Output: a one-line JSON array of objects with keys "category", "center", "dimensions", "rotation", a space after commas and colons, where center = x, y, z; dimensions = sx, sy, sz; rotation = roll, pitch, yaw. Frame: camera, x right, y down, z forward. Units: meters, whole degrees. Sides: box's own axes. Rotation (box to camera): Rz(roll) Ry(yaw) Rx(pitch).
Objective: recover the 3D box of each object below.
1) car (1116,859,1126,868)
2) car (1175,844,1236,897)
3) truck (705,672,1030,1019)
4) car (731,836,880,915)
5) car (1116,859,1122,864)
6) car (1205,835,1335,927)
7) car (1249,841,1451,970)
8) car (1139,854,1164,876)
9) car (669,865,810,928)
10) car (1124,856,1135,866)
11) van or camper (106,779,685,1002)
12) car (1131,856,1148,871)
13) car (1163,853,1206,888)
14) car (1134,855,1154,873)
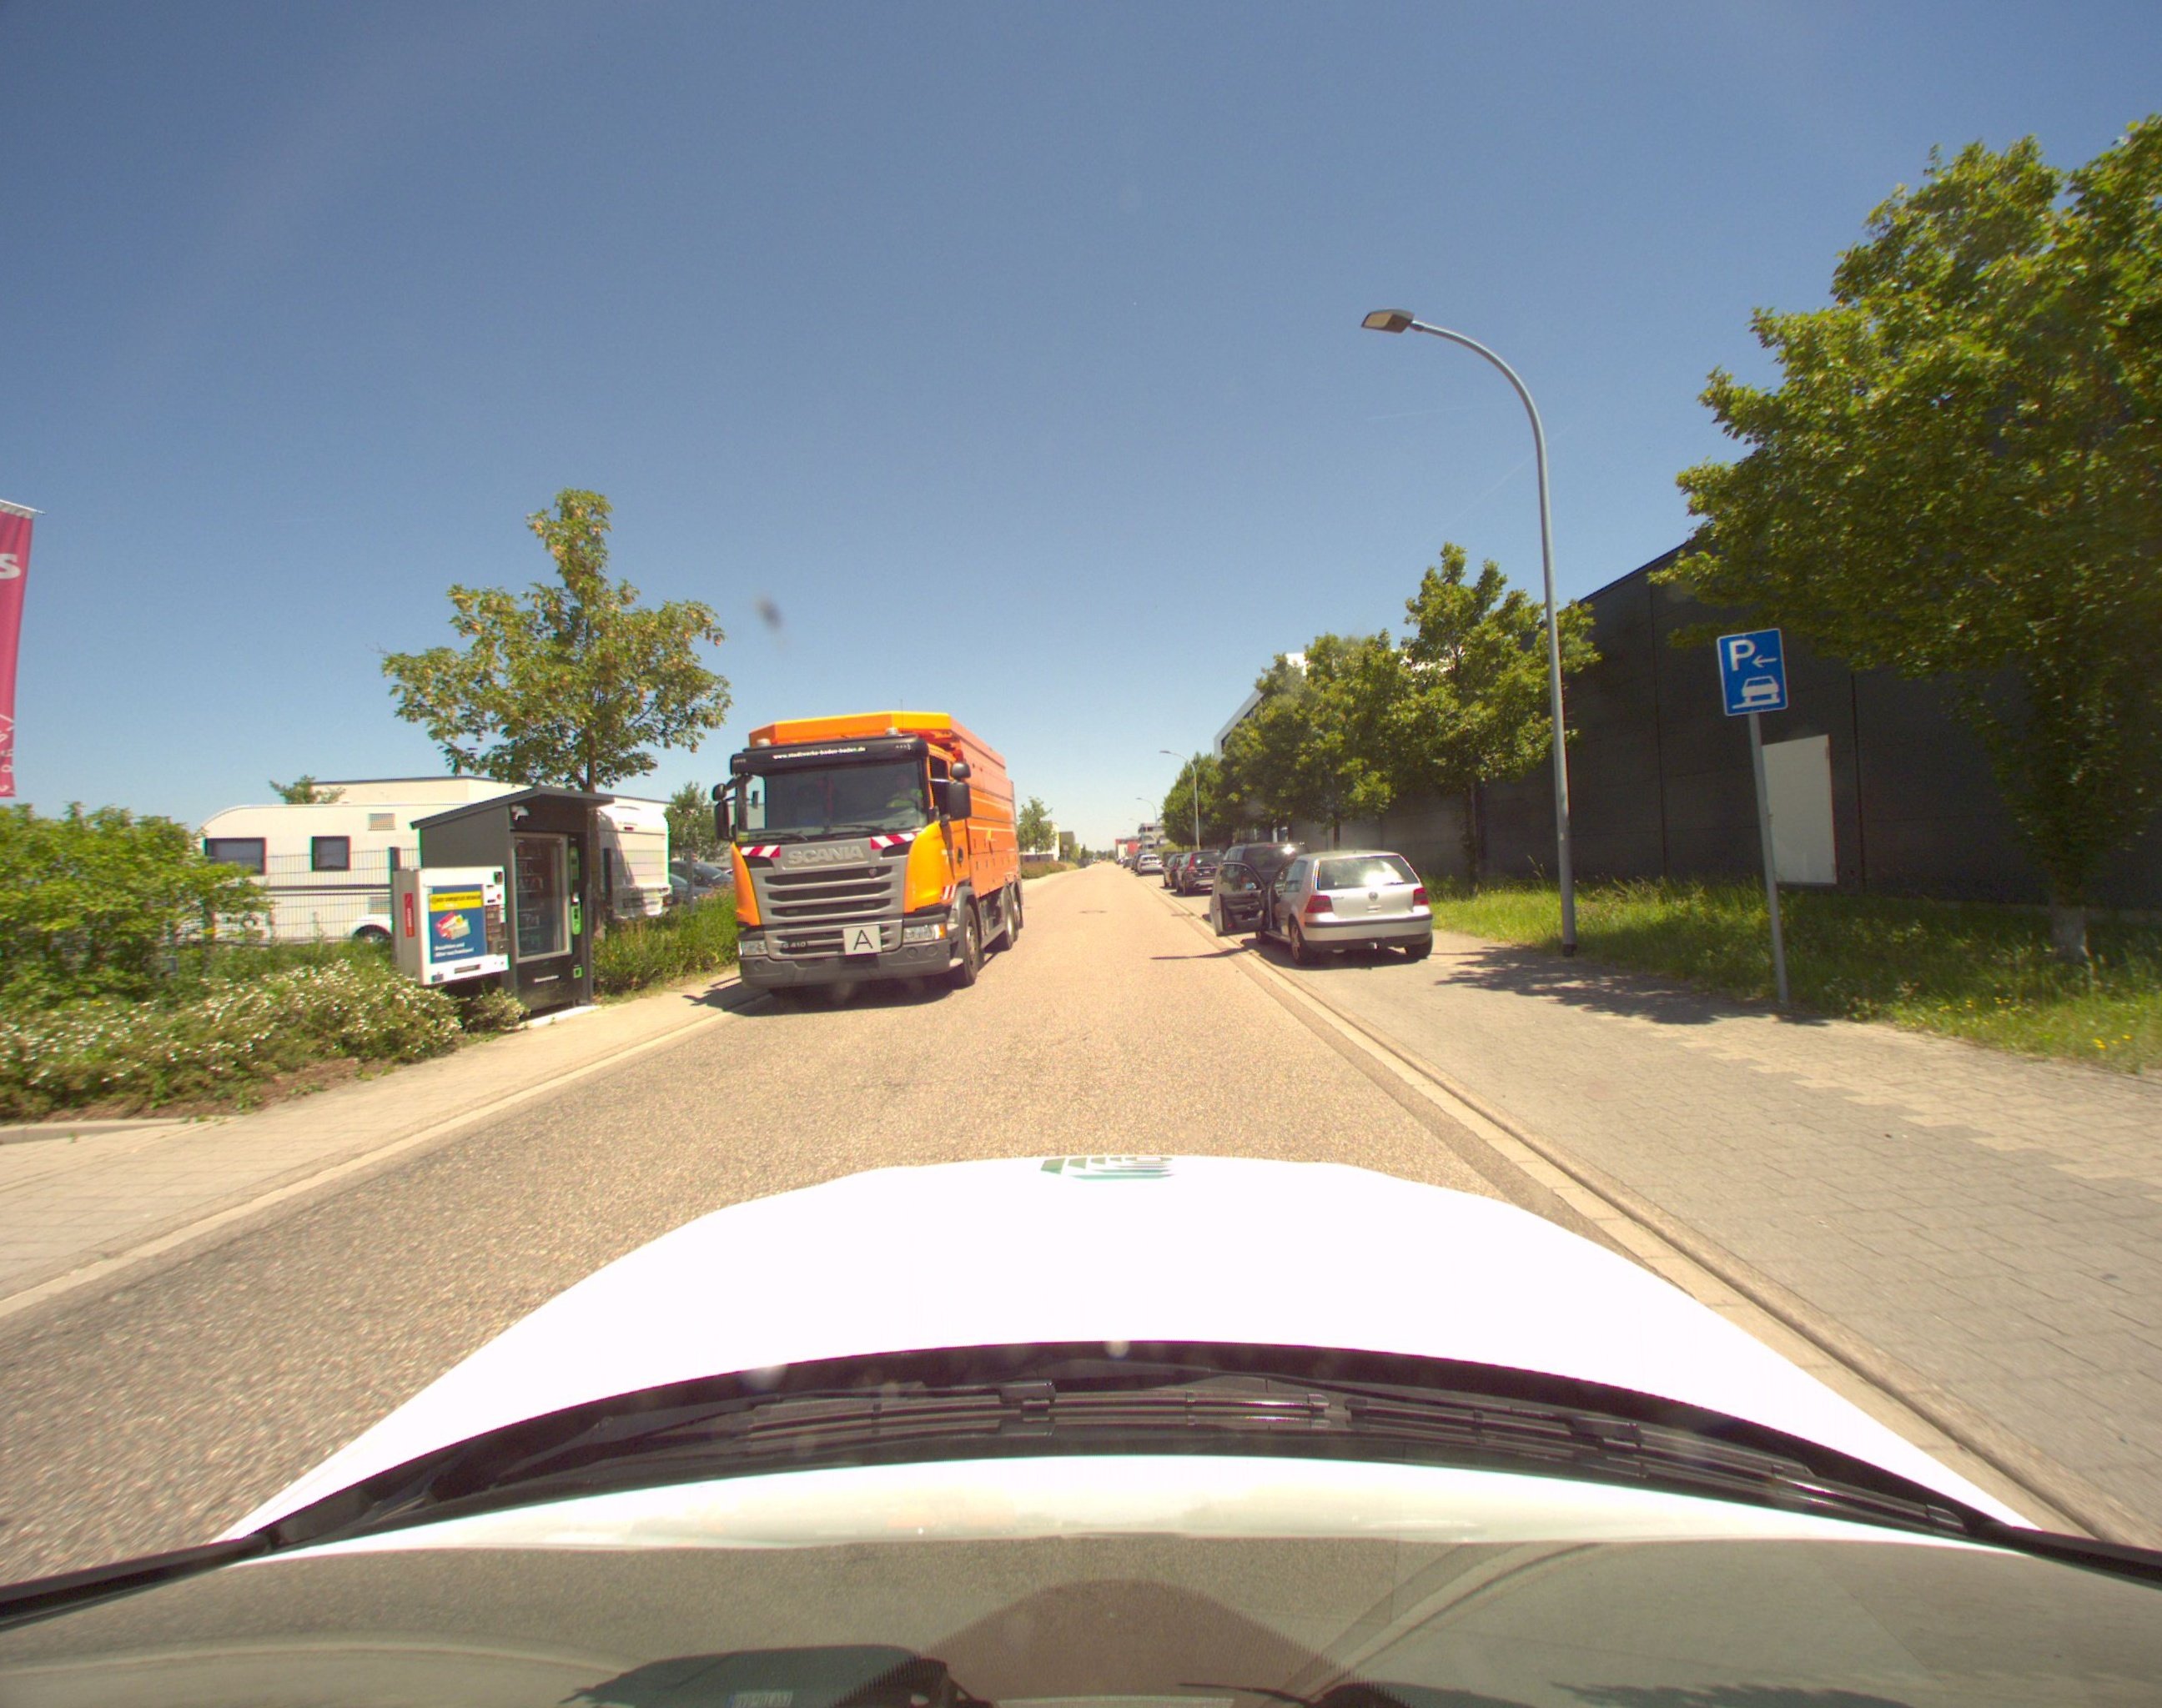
[{"category": "car", "center": [6.816, 1.582, 138.742], "dimensions": [1.489, 1.409, 3.501], "rotation": [-3, 0, 2]}, {"category": "car", "center": [4.428, 0.555, 29.461], "dimensions": [1.715, 1.694, 3.987], "rotation": [-3, 0, 3]}, {"category": "truck", "center": [-2.531, -0.088, 12.759], "dimensions": [2.439, 3.513, 8.276], "rotation": [-4, 0, 2]}, {"category": "car", "center": [-10.082, 0.773, 30.131], "dimensions": [4.703, 2.586, 1.998], "rotation": [-3, -1, -3]}, {"category": "car", "center": [10.841, 2.258, 233.979], "dimensions": [1.489, 1.409, 3.501], "rotation": [-3, 0, 2]}, {"category": "car", "center": [3.924, 0.529, 17.549], "dimensions": [1.674, 1.686, 3.997], "rotation": [-3, 0, -2]}, {"category": "car", "center": [3.609, 0.637, 11.630], "dimensions": [1.712, 1.450, 3.647], "rotation": [-3, -1, 2]}, {"category": "car", "center": [5.033, 0.781, 58.533], "dimensions": [1.579, 1.409, 3.501], "rotation": [-3, 0, 2]}, {"category": "car", "center": [-10.093, 1.233, 24.230], "dimensions": [3.476, 1.611, 1.500], "rotation": [-3, -1, 1]}, {"category": "car", "center": [7.286, 0.982, 122.948], "dimensions": [1.489, 1.409, 3.501], "rotation": [-3, 0, 2]}, {"category": "van or camper", "center": [-11.174, 0.567, 13.848], "dimensions": [7.359, 3.037, 2.790], "rotation": [-3, -1, 1]}, {"category": "car", "center": [5.902, 0.897, 81.808], "dimensions": [1.489, 1.409, 3.501], "rotation": [-3, 0, 2]}, {"category": "car", "center": [4.523, 0.695, 35.797], "dimensions": [1.489, 1.409, 3.501], "rotation": [-3, 0, 2]}, {"category": "car", "center": [5.433, 0.846, 70.315], "dimensions": [1.489, 1.409, 3.501], "rotation": [-3, 0, 2]}]
